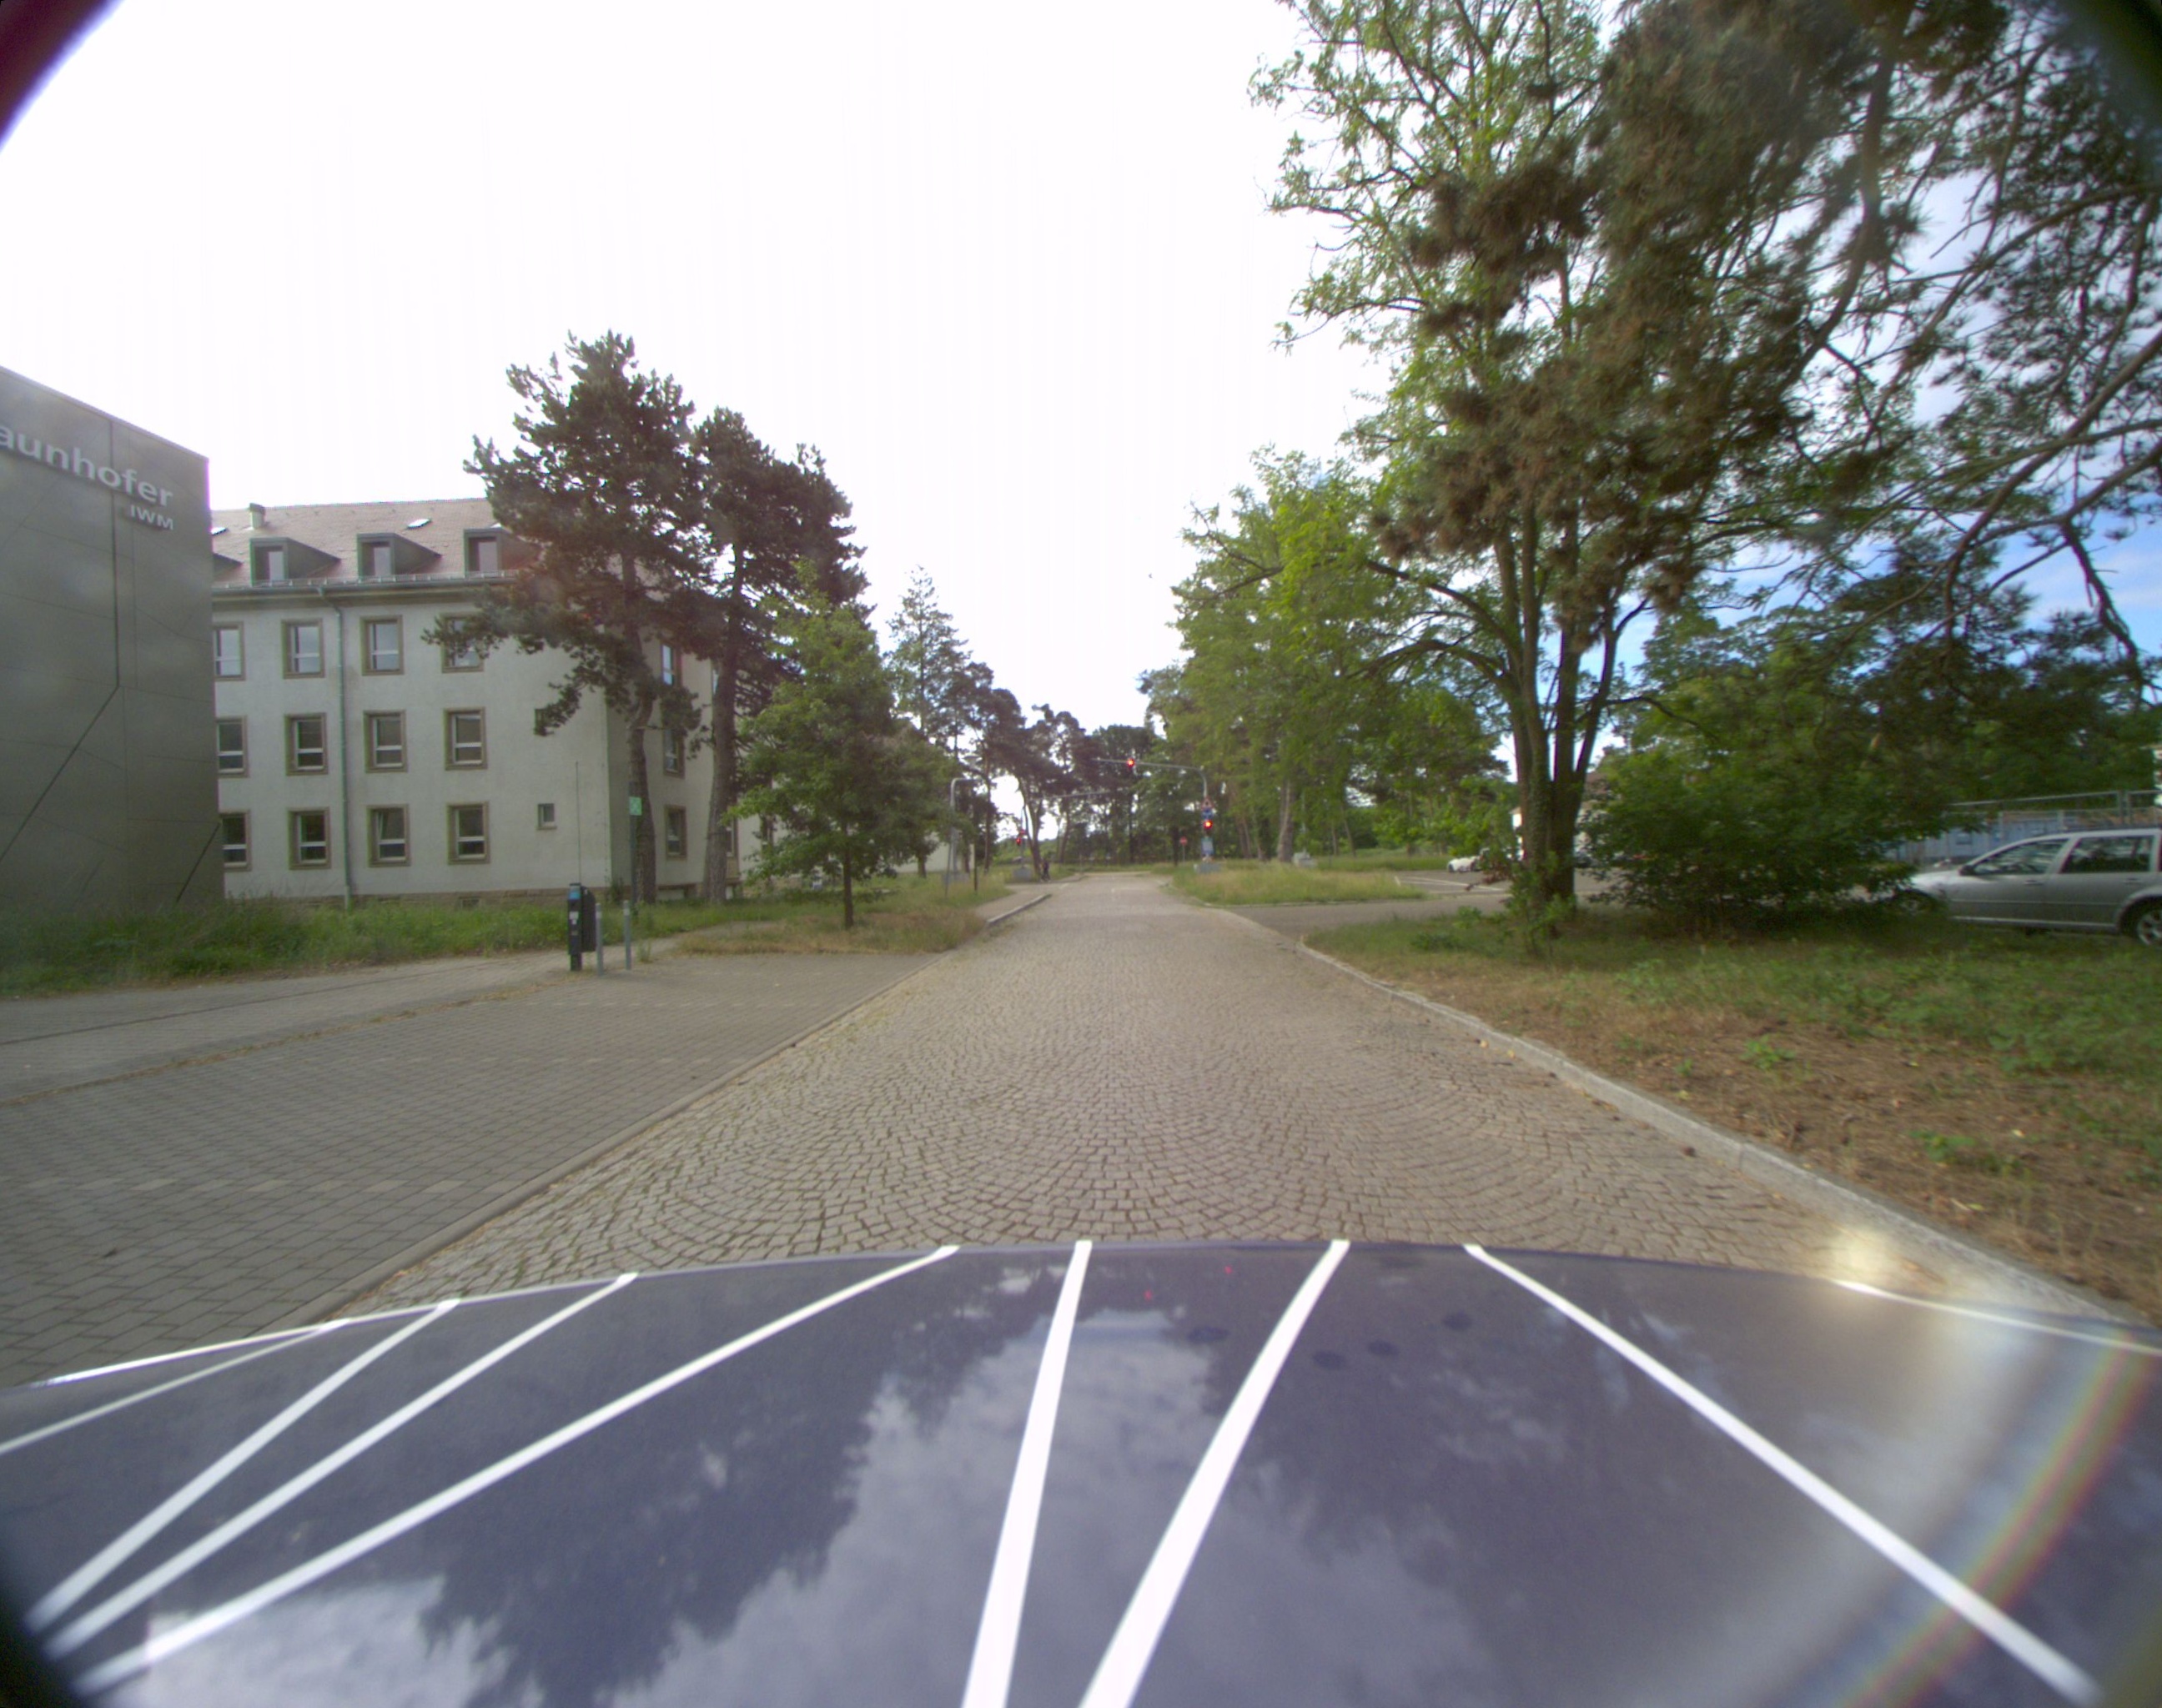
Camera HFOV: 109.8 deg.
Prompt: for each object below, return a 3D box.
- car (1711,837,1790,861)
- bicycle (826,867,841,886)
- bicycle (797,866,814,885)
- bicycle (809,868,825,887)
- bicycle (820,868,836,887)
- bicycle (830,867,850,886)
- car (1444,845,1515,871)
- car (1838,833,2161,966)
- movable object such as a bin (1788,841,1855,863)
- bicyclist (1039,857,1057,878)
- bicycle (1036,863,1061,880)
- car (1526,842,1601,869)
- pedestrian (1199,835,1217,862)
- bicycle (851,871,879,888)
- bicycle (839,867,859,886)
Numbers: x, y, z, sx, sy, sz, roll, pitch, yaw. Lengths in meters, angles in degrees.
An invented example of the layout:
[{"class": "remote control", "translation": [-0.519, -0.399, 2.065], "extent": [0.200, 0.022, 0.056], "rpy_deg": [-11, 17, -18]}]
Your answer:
[{"class": "car", "translation": [50.257, -0.350, 57.193], "extent": [1.840, 1.564, 4.586], "rpy_deg": [-2, -2, 0]}, {"class": "bicycle", "translation": [-18.216, 1.675, 55.952], "extent": [0.482, 1.324, 1.837], "rpy_deg": [-2, 0, -3]}, {"class": "bicycle", "translation": [-20.275, 1.562, 55.914], "extent": [0.572, 1.324, 1.837], "rpy_deg": [-2, 0, -3]}, {"class": "bicycle", "translation": [-19.414, 1.725, 55.940], "extent": [0.572, 1.324, 1.837], "rpy_deg": [-2, 0, -3]}, {"class": "bicycle", "translation": [-18.647, 1.700, 55.978], "extent": [0.572, 1.324, 1.837], "rpy_deg": [-2, 0, -3]}, {"class": "bicycle", "translation": [-17.720, 1.646, 55.923], "extent": [0.572, 1.324, 1.839], "rpy_deg": [-2, 0, 10]}, {"class": "car", "translation": [24.360, 0.280, 46.618], "extent": [1.840, 1.441, 4.657], "rpy_deg": [-2, -2, 0]}, {"class": "car", "translation": [12.605, 0.484, 9.539], "extent": [1.720, 1.430, 4.467], "rpy_deg": [-2, 0, 0]}, {"class": "movable object such as a bin", "translation": [32.982, -0.088, 33.870], "extent": [1.041, 0.927, 1.935], "rpy_deg": [-1, 0, -5]}, {"class": "bicyclist", "translation": [-2.583, 1.049, 59.696], "extent": [0.962, 1.625, 0.919], "rpy_deg": [-2, 0, 30]}, {"class": "bicycle", "translation": [-2.540, 1.376, 59.731], "extent": [0.962, 1.268, 2.167], "rpy_deg": [-2, 0, 30]}, {"class": "car", "translation": [29.628, 0.111, 46.832], "extent": [1.839, 1.460, 4.587], "rpy_deg": [-2, -2, 2]}, {"class": "pedestrian", "translation": [7.242, -0.322, 43.322], "extent": [0.882, 1.508, 0.822], "rpy_deg": [-2, 0, 16]}, {"class": "bicycle", "translation": [-15.444, 1.831, 54.294], "extent": [1.836, 1.079, 0.573], "rpy_deg": [-2, 2, 6]}, {"class": "bicycle", "translation": [-17.089, 1.636, 56.017], "extent": [0.572, 1.324, 1.839], "rpy_deg": [-2, 0, 10]}]
